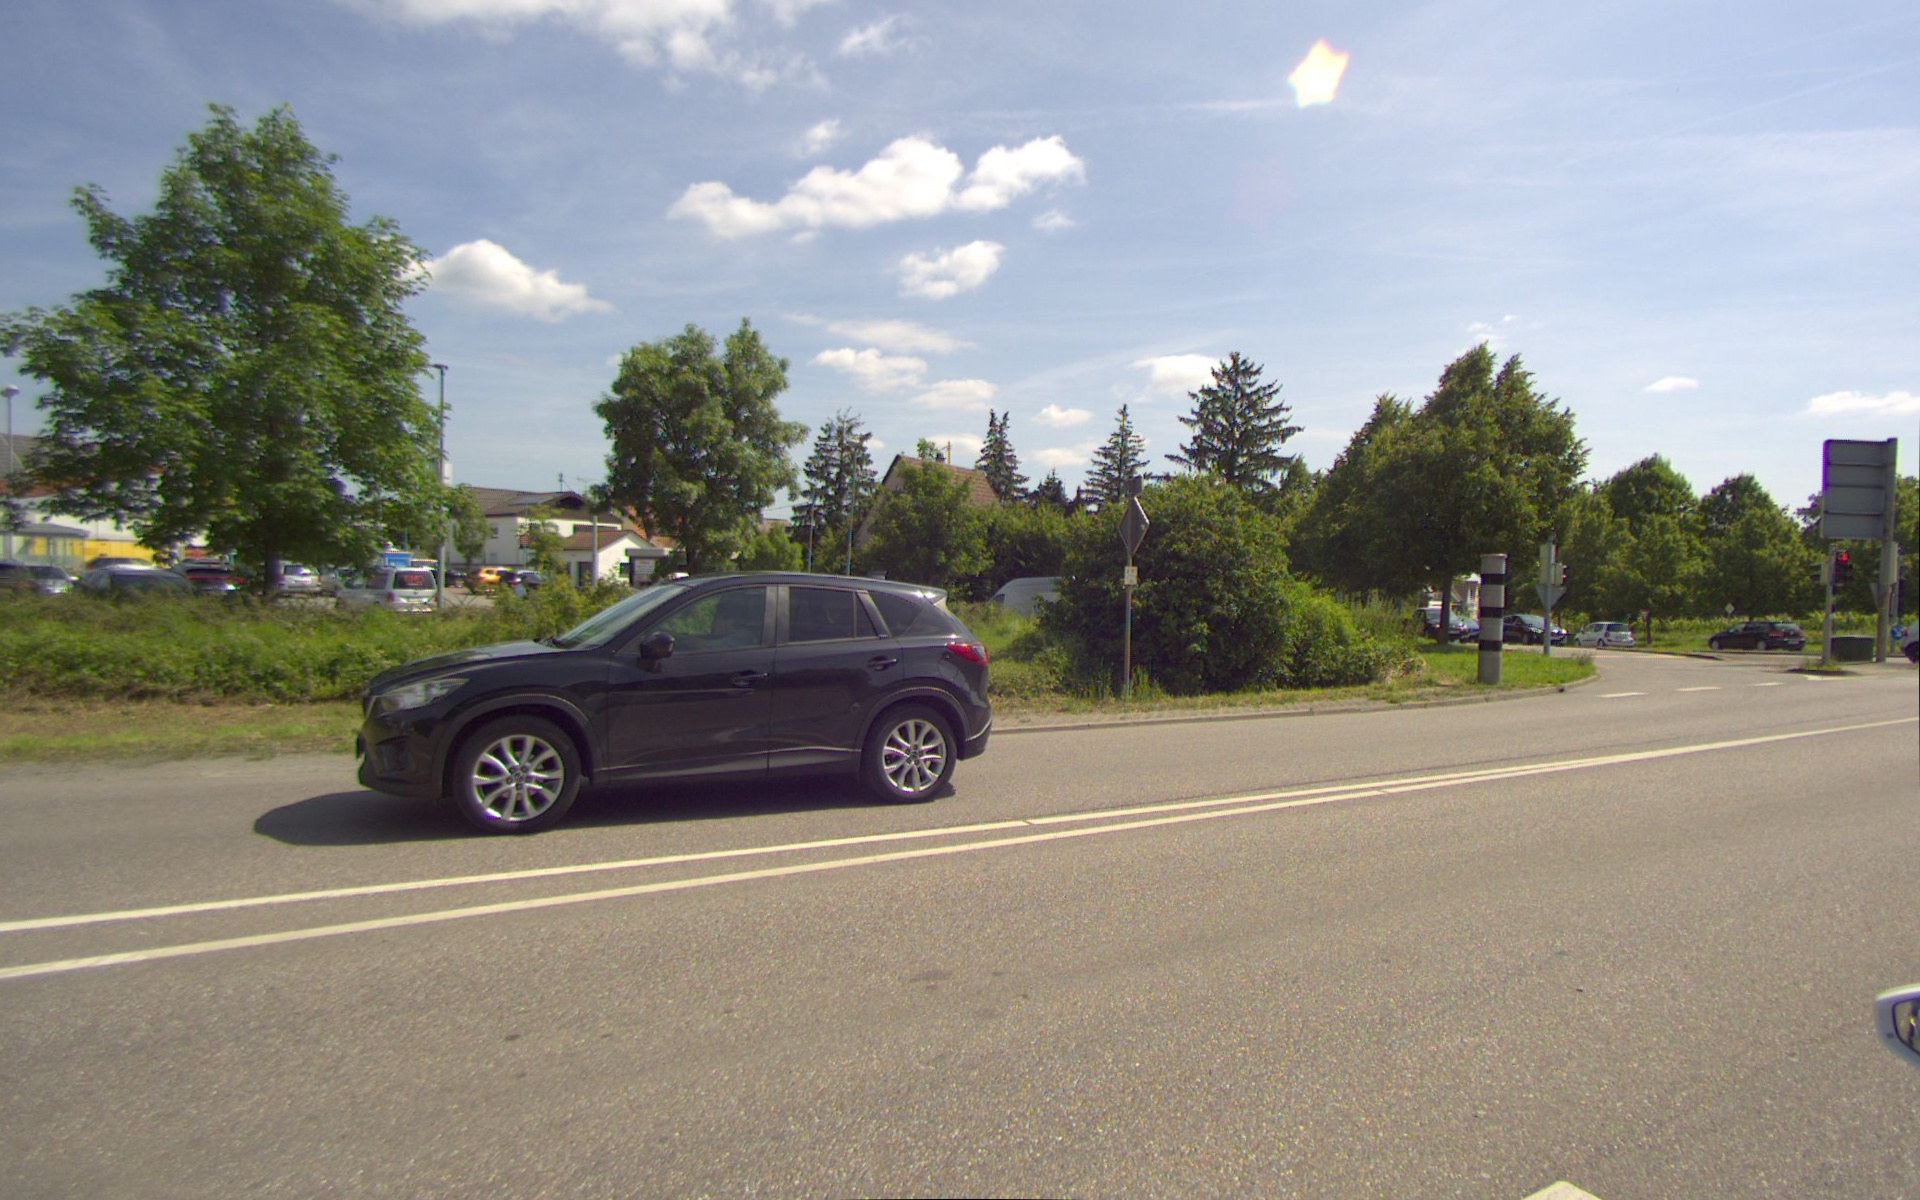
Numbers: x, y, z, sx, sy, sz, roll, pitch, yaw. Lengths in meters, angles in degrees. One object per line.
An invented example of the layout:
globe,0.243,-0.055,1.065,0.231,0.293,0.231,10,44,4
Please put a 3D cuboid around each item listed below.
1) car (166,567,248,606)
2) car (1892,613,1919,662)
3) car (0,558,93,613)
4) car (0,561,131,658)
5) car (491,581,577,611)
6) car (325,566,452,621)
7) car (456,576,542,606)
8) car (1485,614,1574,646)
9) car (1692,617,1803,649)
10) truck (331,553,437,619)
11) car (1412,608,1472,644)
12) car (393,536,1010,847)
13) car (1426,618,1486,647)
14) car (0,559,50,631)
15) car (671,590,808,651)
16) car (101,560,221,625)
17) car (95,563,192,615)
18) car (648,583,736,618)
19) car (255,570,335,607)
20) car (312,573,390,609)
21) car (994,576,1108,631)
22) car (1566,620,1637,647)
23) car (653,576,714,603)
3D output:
car,-32.392,-0.597,43.167,4.193,1.562,1.871,2,0,40
car,29.476,1.130,28.597,1.764,1.436,4.037,0,1,-13
car,-28.218,-0.439,30.743,3.936,1.549,1.772,2,0,37
car,-17.548,0.149,19.459,3.941,1.679,1.686,2,0,42
car,-24.543,-0.215,57.972,1.849,1.562,4.243,2,0,37
car,-19.308,-0.228,33.890,4.353,1.717,1.994,1,0,34
car,-27.121,-0.503,59.228,1.849,1.562,4.243,2,0,37
car,26.515,1.378,46.937,1.707,1.322,4.280,-1,0,-1
car,36.462,1.504,46.656,1.708,1.322,4.280,1,0,-2
truck,-22.332,-0.548,38.919,3.932,2.397,1.994,2,0,34
car,22.849,1.207,47.744,1.773,1.619,4.271,0,0,15
car,-1.848,0.564,7.514,4.059,1.773,1.859,1,0,-28
car,27.723,1.806,56.266,1.706,1.448,4.283,1,0,8
car,-24.796,-0.190,25.561,3.939,1.697,1.903,3,1,40
car,-7.072,0.626,32.198,3.928,1.751,1.997,2,0,29
car,-22.839,-0.224,28.681,3.939,1.711,1.918,2,0,40
car,-26.502,-0.366,32.557,3.941,1.549,1.770,2,0,41
car,-13.576,0.047,51.021,1.883,1.662,3.984,2,0,38
car,-30.280,-0.523,45.678,4.193,1.562,1.871,2,0,40
car,-29.003,-0.446,47.822,4.193,1.562,1.871,2,0,40
car,3.920,0.136,43.699,4.524,2.209,1.992,2,1,37
car,37.130,1.926,58.248,1.643,1.375,3.861,2,0,1
car,-20.169,-0.742,73.414,1.866,1.782,3.988,2,0,35
